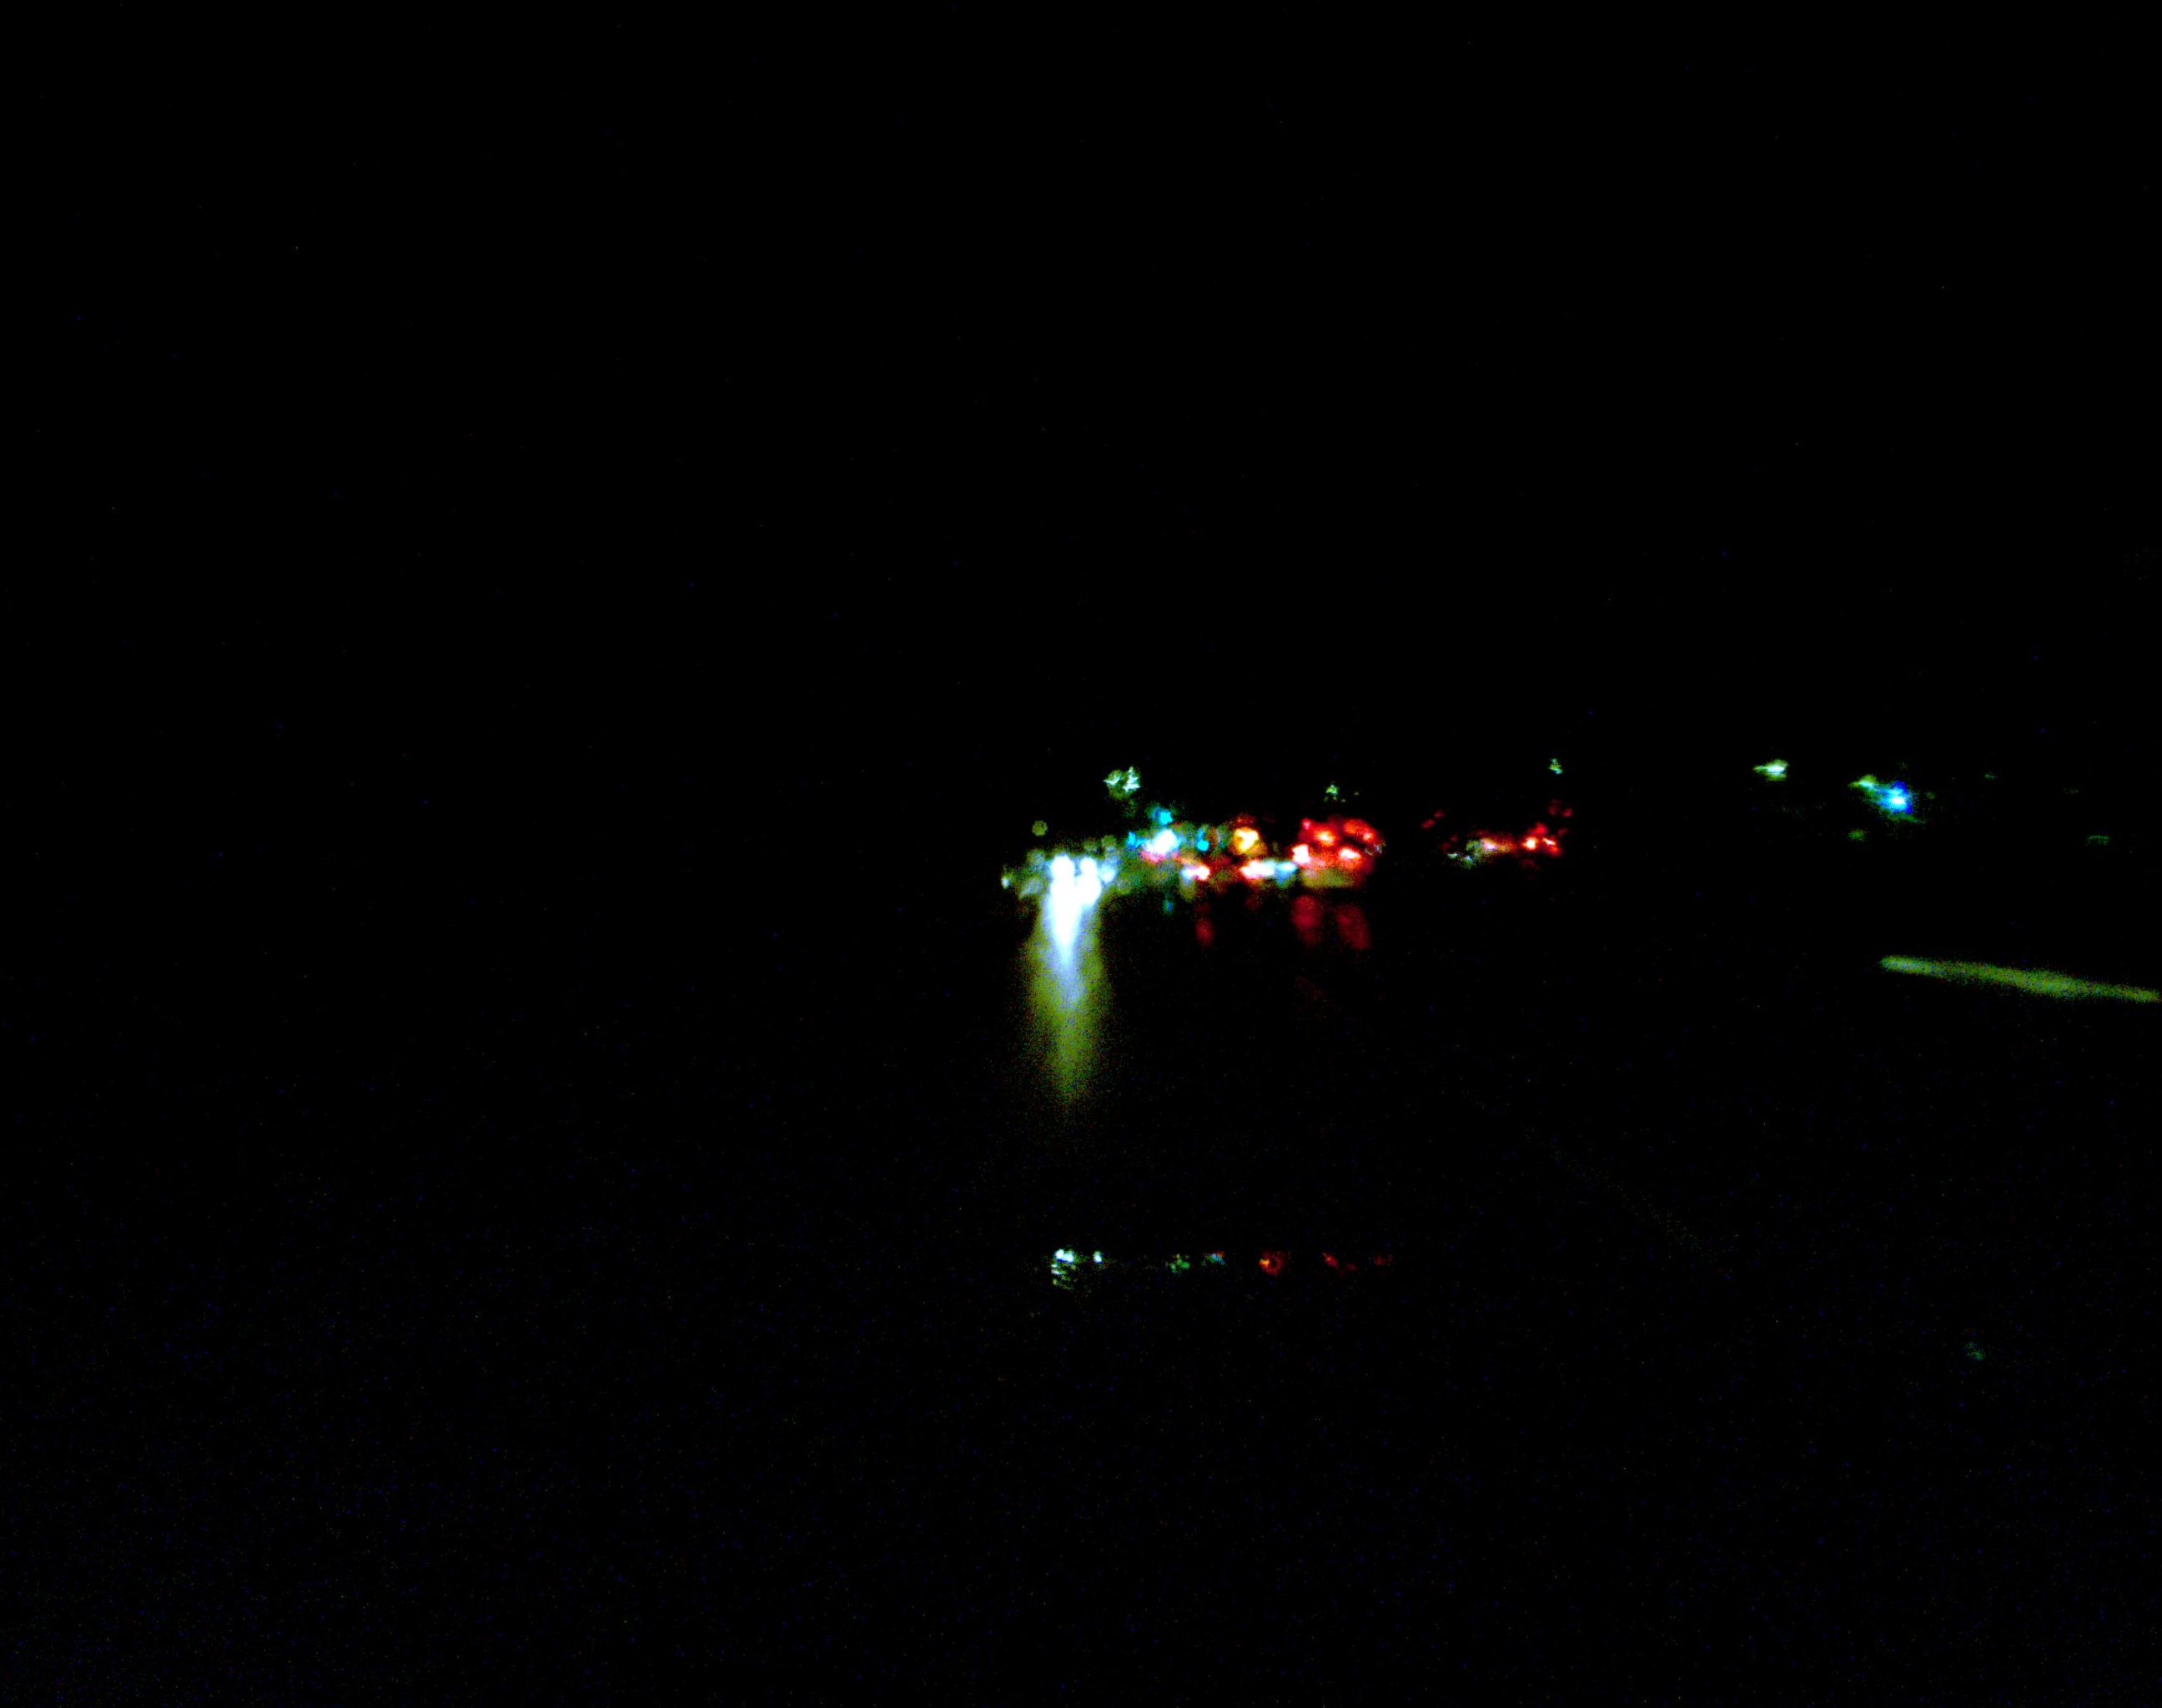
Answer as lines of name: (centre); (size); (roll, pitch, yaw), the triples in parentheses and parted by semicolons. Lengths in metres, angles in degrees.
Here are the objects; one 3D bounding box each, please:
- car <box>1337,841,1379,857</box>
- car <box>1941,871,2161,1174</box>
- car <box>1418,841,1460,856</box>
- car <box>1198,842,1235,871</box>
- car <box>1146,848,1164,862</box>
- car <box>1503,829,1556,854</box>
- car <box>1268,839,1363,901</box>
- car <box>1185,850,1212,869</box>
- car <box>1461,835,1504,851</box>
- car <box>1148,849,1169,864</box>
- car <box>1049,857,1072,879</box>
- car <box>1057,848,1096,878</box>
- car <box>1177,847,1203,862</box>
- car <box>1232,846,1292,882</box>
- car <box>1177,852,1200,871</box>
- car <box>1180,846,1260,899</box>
car: (32.789, -0.624, 89.860); (4.512, 1.833, 2.004); (0, 0, 26)
car: (5.866, 0.810, 2.119); (1.807, 1.375, 4.773); (-2, 0, 5)
car: (41.538, -0.617, 88.156); (2.003, 1.582, 3.991); (-2, 0, -26)
car: (10.084, 0.162, 56.838); (2.158, 2.002, 4.996); (-2, 0, 4)
car: (9.507, 0.078, 98.299); (1.998, 1.688, 5.012); (-2, 1, 2)
car: (43.793, -1.223, 74.440); (1.998, 2.294, 6.023); (-2, 0, 4)
car: (7.744, 0.475, 25.599); (1.998, 1.854, 5.321); (-1, 0, 6)
car: (9.890, 0.473, 64.109); (1.970, 1.520, 3.689); (-2, 0, 4)
car: (43.437, -1.149, 82.315); (1.851, 1.683, 4.446); (-2, 0, -6)
car: (8.455, 0.259, 83.487); (1.961, 1.562, 4.466); (-2, 1, 2)
car: (-1.828, 1.258, 69.815); (1.794, 1.802, 4.198); (-2, 1, 2)
car: (-0.221, 0.506, 44.759); (1.878, 1.579, 4.889); (-2, 1, 4)
car: (12.244, 0.049, 85.639); (2.364, 1.547, 5.160); (-2, 0, 3)
car: (8.467, 0.429, 35.913); (2.088, 1.533, 4.900); (-1, 0, 6)
car: (10.536, 0.693, 74.967); (1.998, 1.736, 4.500); (-2, 0, 5)
car: (4.532, 0.560, 25.518); (2.115, 1.566, 4.681); (-2, 0, 4)
